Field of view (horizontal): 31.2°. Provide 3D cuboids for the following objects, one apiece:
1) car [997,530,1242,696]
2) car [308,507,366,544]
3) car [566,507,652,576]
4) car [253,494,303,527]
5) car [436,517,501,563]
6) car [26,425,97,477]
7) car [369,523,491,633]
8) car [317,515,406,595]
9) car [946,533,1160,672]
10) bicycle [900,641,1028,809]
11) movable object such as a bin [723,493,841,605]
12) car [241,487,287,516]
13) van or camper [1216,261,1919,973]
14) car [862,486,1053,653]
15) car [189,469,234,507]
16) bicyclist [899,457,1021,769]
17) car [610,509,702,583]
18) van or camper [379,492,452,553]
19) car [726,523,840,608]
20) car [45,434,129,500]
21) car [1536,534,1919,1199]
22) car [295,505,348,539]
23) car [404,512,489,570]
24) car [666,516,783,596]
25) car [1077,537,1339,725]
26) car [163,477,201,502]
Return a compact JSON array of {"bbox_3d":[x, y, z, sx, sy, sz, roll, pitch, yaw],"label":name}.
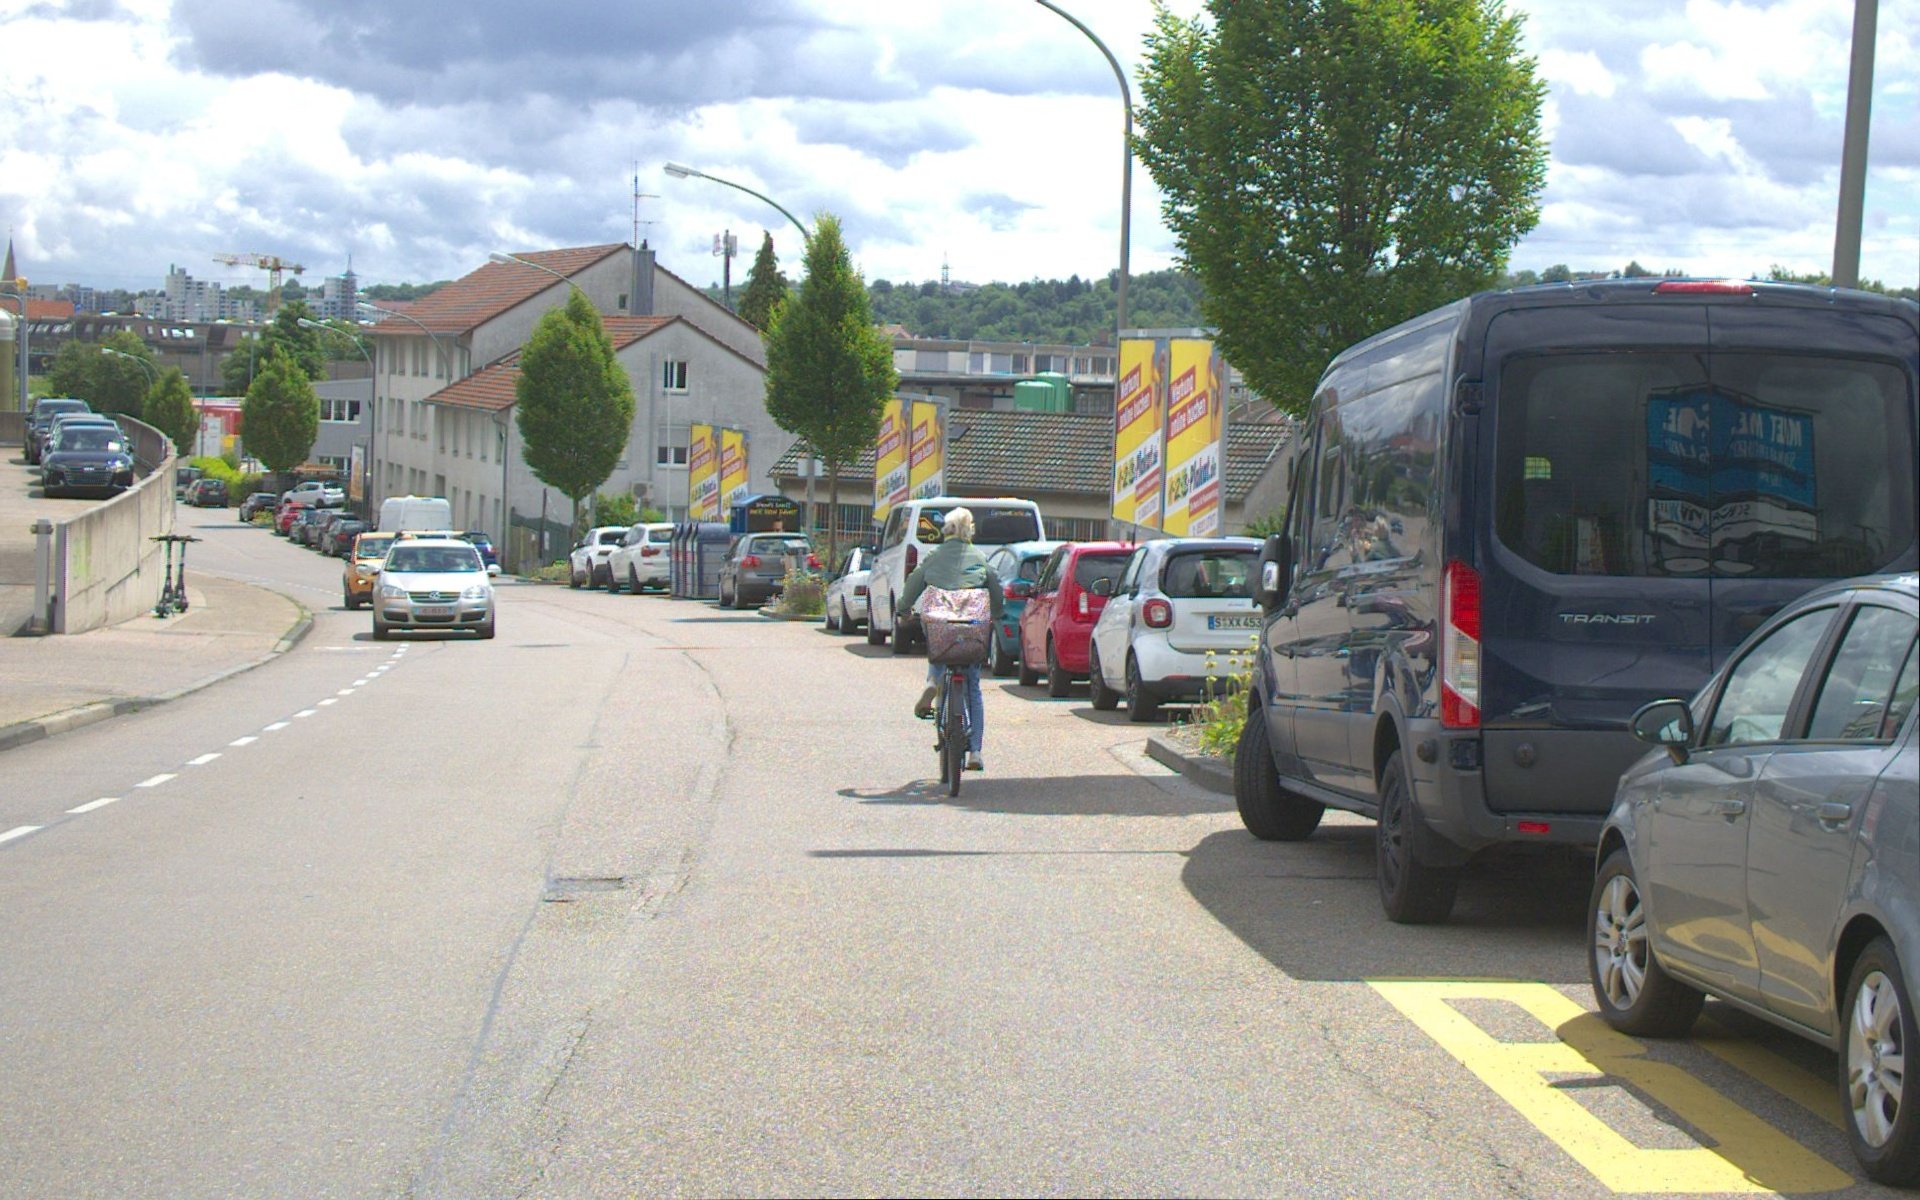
[{"bbox_3d":[1.500,0.077,33.766,1.875,1.503,4.001,0,1,-5],"label":"car"},{"bbox_3d":[-25.095,-3.015,138.443,1.993,1.459,4.001,-1,1,-14],"label":"car"},{"bbox_3d":[-8.929,-1.488,87.217,1.842,1.700,4.001,-1,1,-10],"label":"car"},{"bbox_3d":[-30.912,-4.058,155.655,1.993,1.459,4.001,-1,1,-14],"label":"car"},{"bbox_3d":[-16.173,-1.979,113.034,1.993,1.459,4.001,-1,1,-10],"label":"car"},{"bbox_3d":[-23.384,-3.883,89.395,1.669,1.319,3.720,-1,3,-16],"label":"car"},{"bbox_3d":[-7.856,-0.358,50.944,1.702,1.556,4.329,0,1,-9],"label":"car"},{"bbox_3d":[-12.113,-0.932,69.646,1.708,1.568,4.001,-1,1,-9],"label":"car"},{"bbox_3d":[0.988,-0.011,38.279,1.902,1.437,3.545,-1,1,-6],"label":"car"},{"bbox_3d":[0.003,0.721,20.537,0.687,0.875,2.102,0,1,-2],"label":"bicycle"},{"bbox_3d":[-3.760,-1.076,72.172,2.134,2.295,2.559,-1,1,-10],"label":"movable object such as a bin"},{"bbox_3d":[-34.668,-4.911,171.166,1.993,1.415,4.001,-1,1,-15],"label":"car"},{"bbox_3d":[2.590,-0.002,15.573,2.124,2.576,5.918,1,1,-2],"label":"van or camper"},{"bbox_3d":[-0.096,-0.439,44.995,1.993,2.007,4.919,2,1,-5],"label":"car"},{"bbox_3d":[-42.926,-6.426,196.997,1.993,2.007,4.002,3,1,-19],"label":"car"},{"bbox_3d":[-0.012,0.061,20.609,0.684,1.819,1.081,0,1,-2],"label":"bicyclist"},{"bbox_3d":[-7.240,-1.291,81.575,1.813,1.700,4.001,-1,1,-10],"label":"car"},{"bbox_3d":[-19.309,-2.764,121.809,1.993,2.007,4.002,3,1,-16],"label":"van or camper"},{"bbox_3d":[-3.504,-0.705,67.473,1.993,1.612,4.001,-1,1,-6],"label":"car"},{"bbox_3d":[-18.302,-2.798,72.151,1.669,1.319,3.720,0,3,-14],"label":"car"},{"bbox_3d":[2.832,0.637,9.303,1.705,1.505,3.697,2,2,-3],"label":"car"},{"bbox_3d":[-27.746,-3.389,149.363,1.993,1.459,4.001,-1,1,-14],"label":"car"},{"bbox_3d":[-14.818,-1.705,98.996,1.993,1.612,4.001,-1,1,-15],"label":"car"},{"bbox_3d":[-5.260,-1.003,76.240,2.134,1.700,4.001,-1,1,-10],"label":"car"},{"bbox_3d":[2.067,0.226,29.409,1.793,1.501,2.907,0,1,-5],"label":"car"},{"bbox_3d":[-45.435,-6.428,200.777,1.993,1.415,4.001,-1,1,-15],"label":"car"}]
